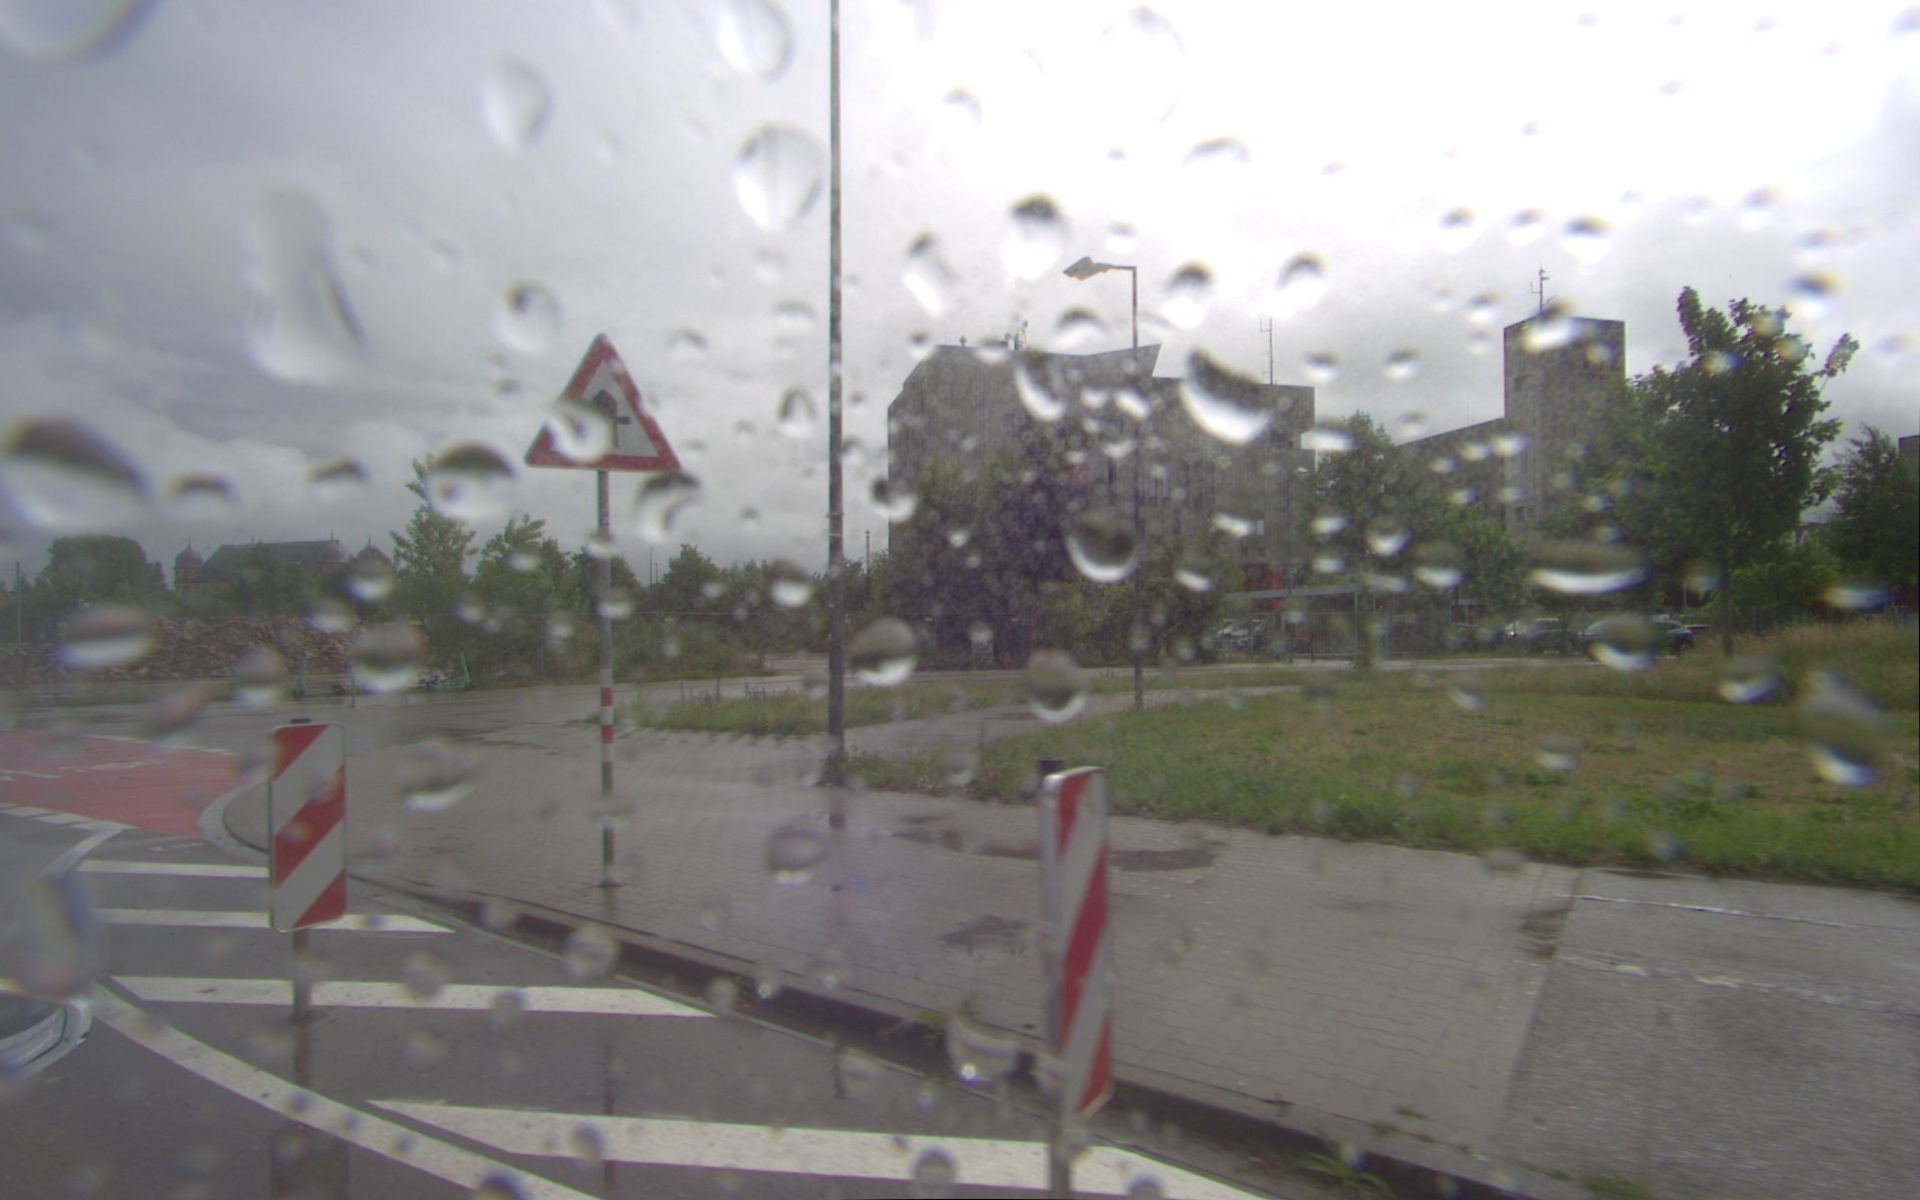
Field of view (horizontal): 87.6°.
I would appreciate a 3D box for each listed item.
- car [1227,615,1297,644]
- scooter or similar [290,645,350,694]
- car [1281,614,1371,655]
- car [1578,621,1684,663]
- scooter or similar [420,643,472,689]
[{"bbox_3d":[17.389,1.688,57.607,3.585,1.631,1.548,0,-2,-16],"label":"car"},{"bbox_3d":[-15.869,1.708,24.853,1.176,1.165,0.481,0,-1,-24],"label":"scooter or similar"},{"bbox_3d":[18.853,1.771,51.681,3.928,2.039,1.998,0,-2,-16],"label":"car"},{"bbox_3d":[26.719,1.660,39.898,3.535,1.631,1.598,0,-2,-16],"label":"car"},{"bbox_3d":[-13.603,1.726,26.545,1.176,1.165,0.744,0,-1,-25],"label":"scooter or similar"}]
